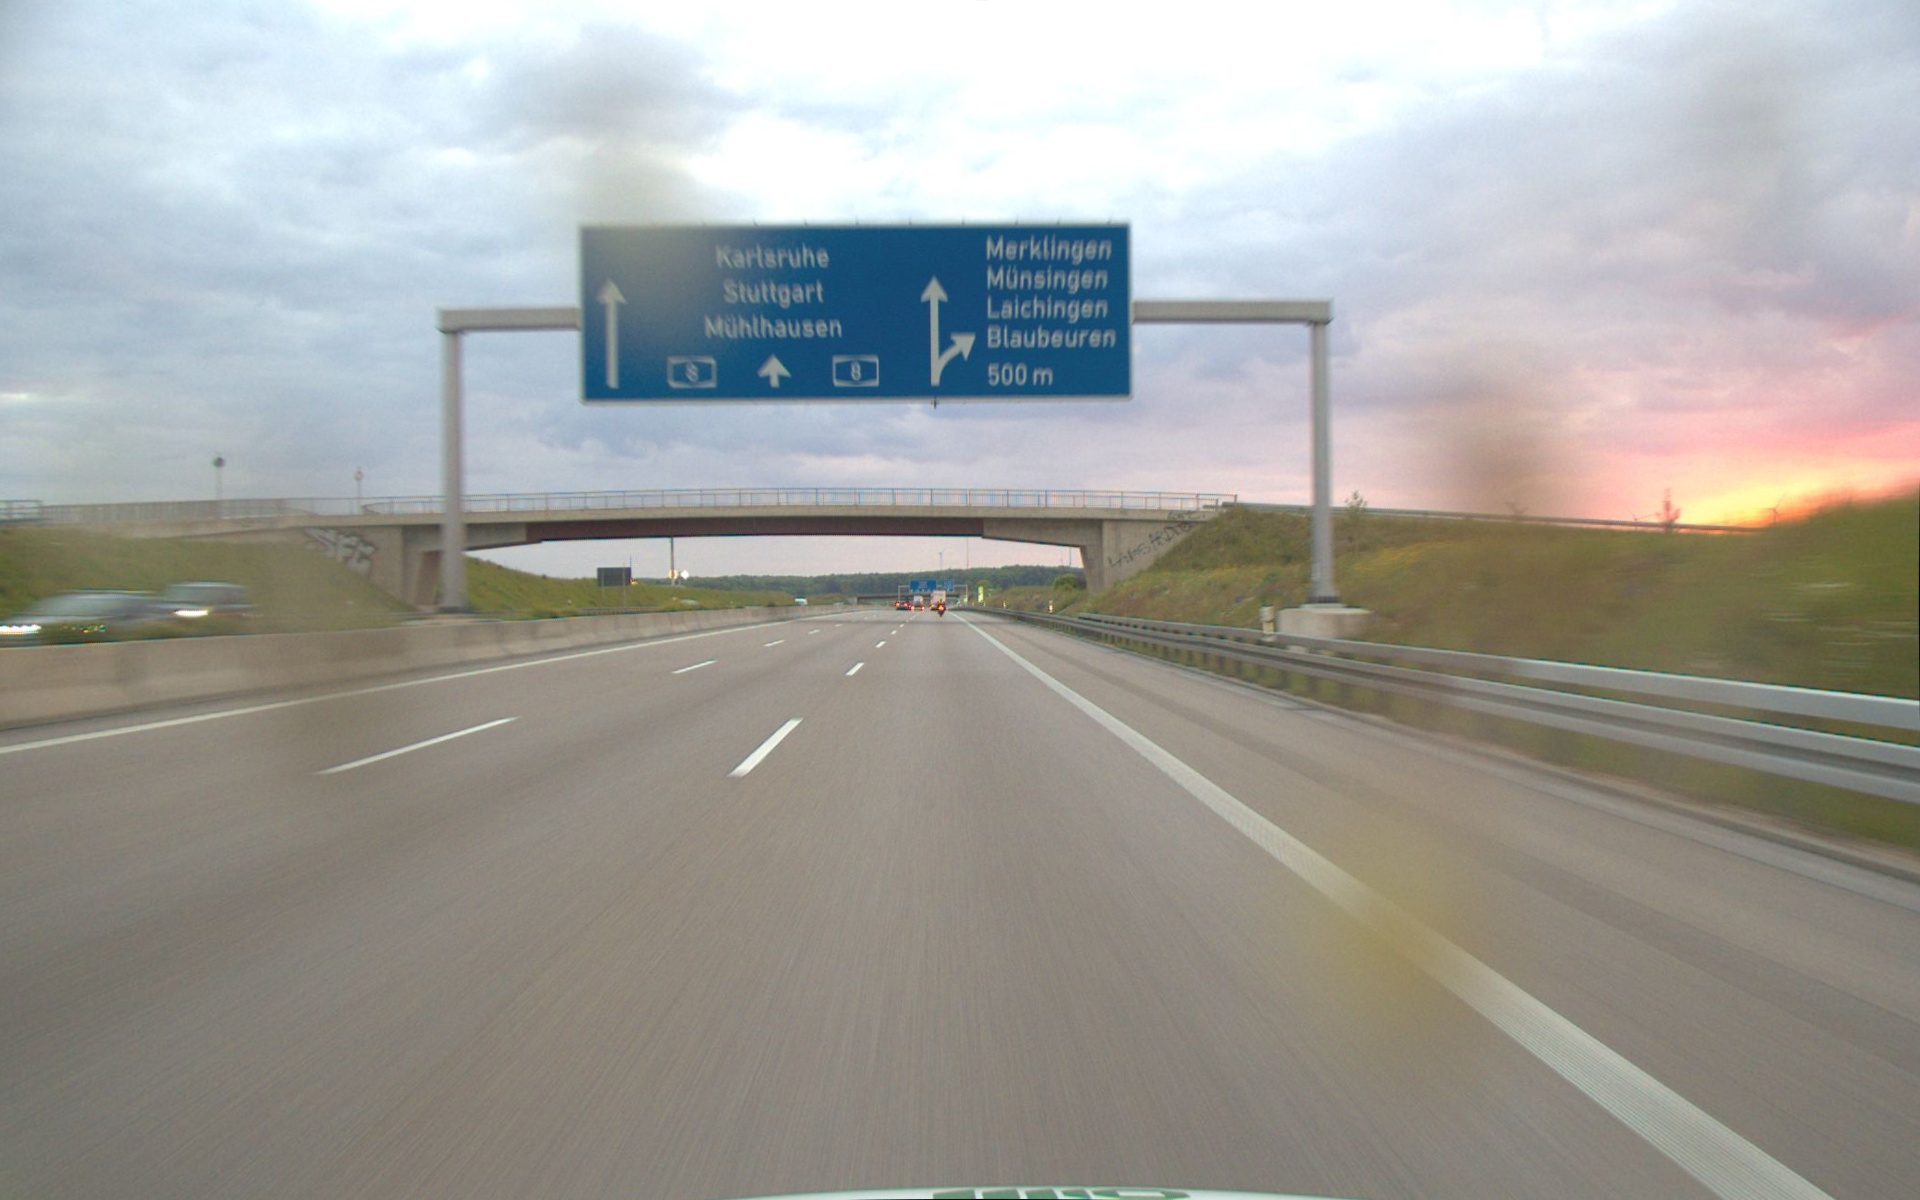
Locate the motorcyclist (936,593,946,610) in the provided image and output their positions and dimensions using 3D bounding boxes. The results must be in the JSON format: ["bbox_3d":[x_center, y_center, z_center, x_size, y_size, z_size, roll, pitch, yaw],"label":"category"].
[{"bbox_3d":[-1.682,0.117,145.180,0.848,1.514,1.168,1,0,0],"label":"motorcyclist"}]

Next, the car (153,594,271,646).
[{"bbox_3d":[-22.546,0.592,49.999,1.777,1.484,3.999,1,0,-1],"label":"car"}]

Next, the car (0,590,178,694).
[{"bbox_3d":[-18.791,0.826,35.261,1.953,2.049,4.902,1,0,-1],"label":"car"}]

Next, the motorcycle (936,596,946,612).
[{"bbox_3d":[-1.706,0.374,145.242,0.883,1.370,2.348,0,0,-1],"label":"motorcycle"}]
